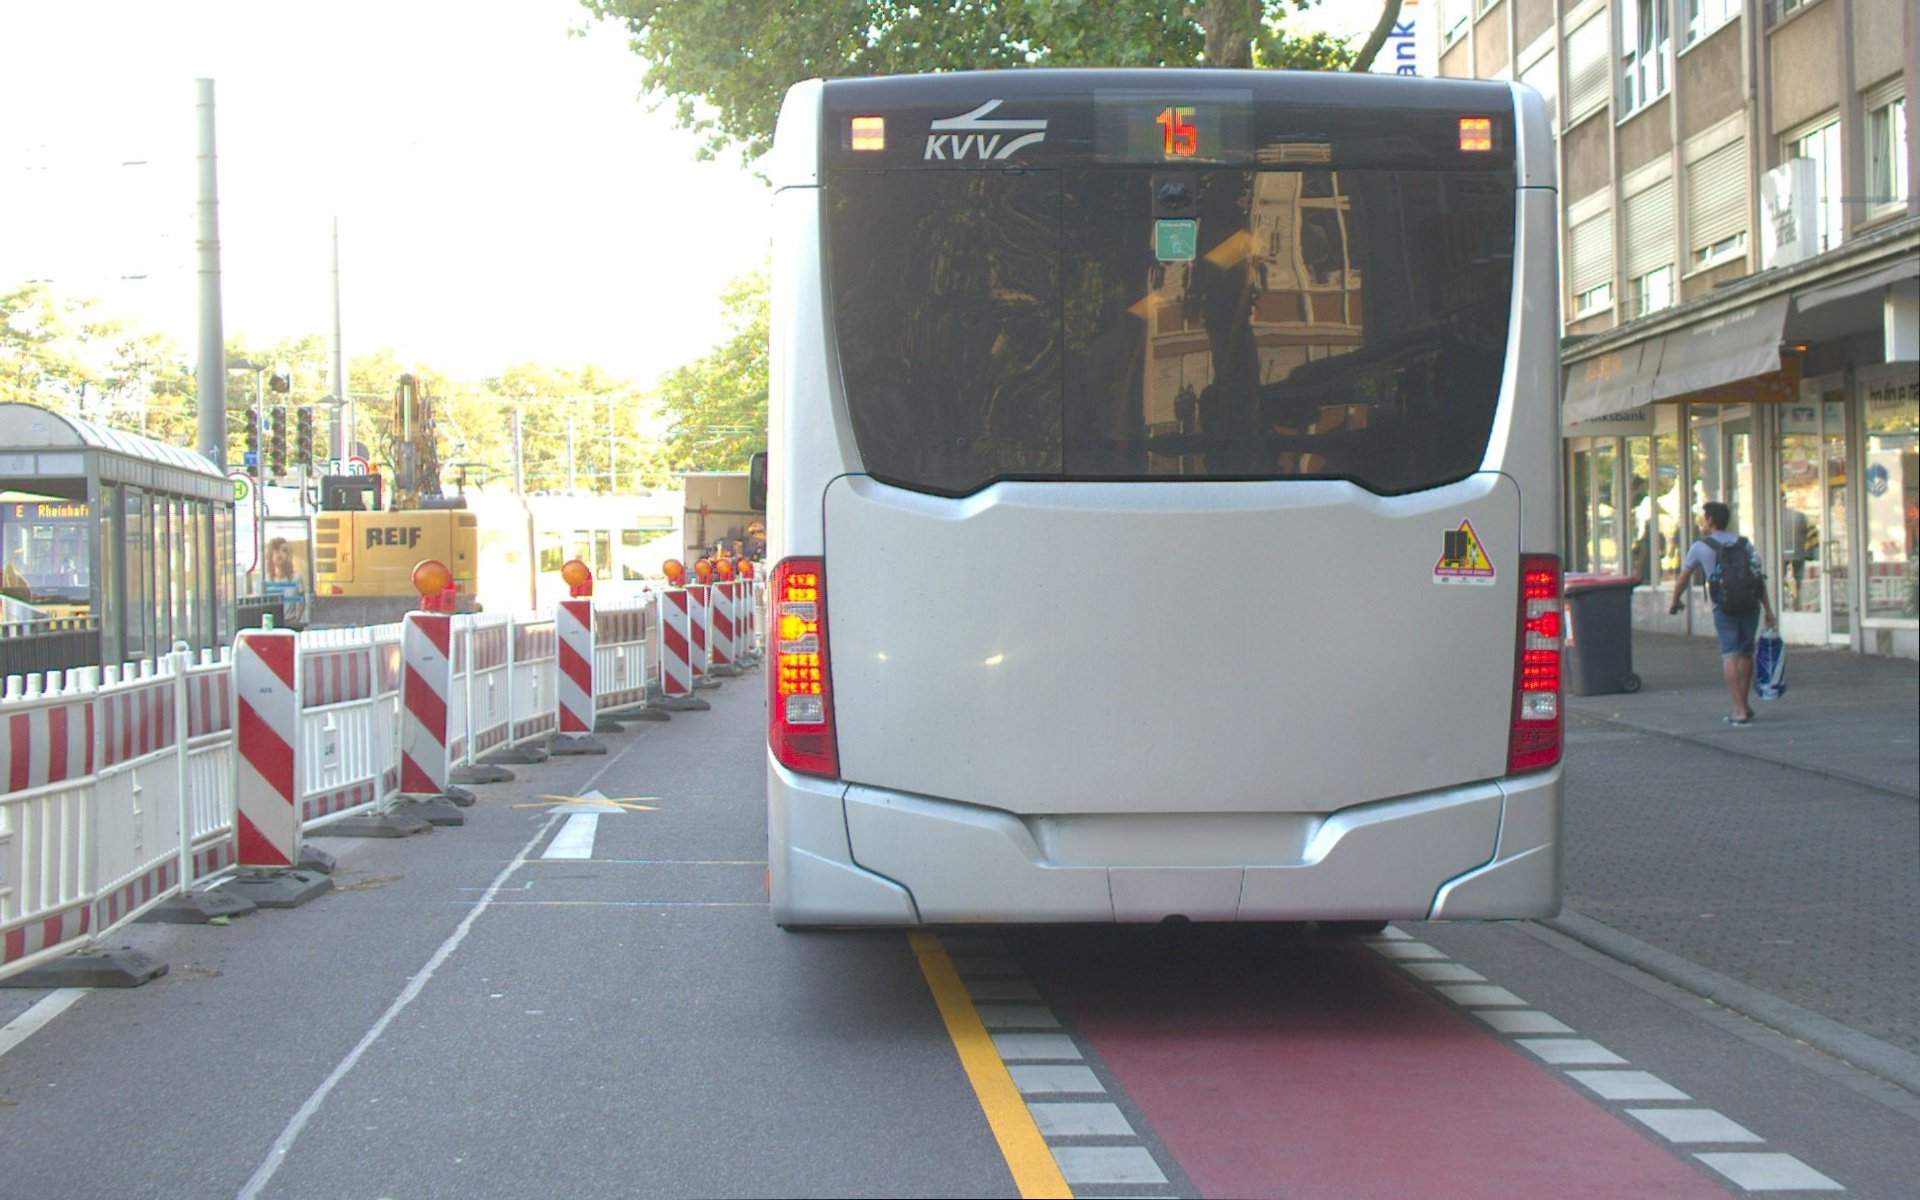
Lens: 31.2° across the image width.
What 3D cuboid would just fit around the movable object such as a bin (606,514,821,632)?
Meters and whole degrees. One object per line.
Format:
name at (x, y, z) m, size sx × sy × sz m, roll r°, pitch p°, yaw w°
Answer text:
movable object such as a bin at (-4.859, -0.572, 68.638) m, size 1.996 × 2.249 × 5.201 m, roll 1°, pitch 1°, yaw 25°

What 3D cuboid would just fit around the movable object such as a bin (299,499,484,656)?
movable object such as a bin at (-8.779, -0.369, 53.528) m, size 2.642 × 2.310 × 4.903 m, roll -1°, pitch 1°, yaw -7°

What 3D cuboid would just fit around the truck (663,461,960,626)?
truck at (-3.229, -1.287, 78.356) m, size 2.816 × 3.529 × 8.971 m, roll -1°, pitch 1°, yaw 26°

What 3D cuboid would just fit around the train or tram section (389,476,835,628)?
train or tram section at (-8.417, -1.227, 86.065) m, size 2.855 × 3.521 × 13.368 m, roll 0°, pitch 1°, yaw 36°

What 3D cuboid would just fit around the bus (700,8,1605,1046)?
bus at (0.373, -0.315, 15.760) m, size 2.733 × 3.128 × 10.704 m, roll 0°, pitch 1°, yaw -2°

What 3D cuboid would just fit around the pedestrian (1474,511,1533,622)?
pedestrian at (7.968, -0.498, 50.407) m, size 0.633 × 1.568 × 0.774 m, roll -4°, pitch 1°, yaw -2°

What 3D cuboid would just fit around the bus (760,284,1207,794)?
bus at (-0.105, -0.434, 25.590) m, size 2.708 × 3.096 × 8.981 m, roll -1°, pitch 1°, yaw -3°

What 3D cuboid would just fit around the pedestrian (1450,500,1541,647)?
pedestrian at (7.121, -0.352, 45.738) m, size 0.838 × 1.863 × 1.100 m, roll -5°, pitch 1°, yaw -2°

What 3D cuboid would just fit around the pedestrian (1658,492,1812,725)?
pedestrian at (5.781, 0.055, 25.688) m, size 0.843 × 1.667 × 0.990 m, roll -2°, pitch 1°, yaw -2°

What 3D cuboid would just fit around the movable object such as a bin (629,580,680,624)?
movable object such as a bin at (-6.464, 0.040, 72.869) m, size 0.932 × 0.914 × 1.420 m, roll -1°, pitch 0°, yaw 1°

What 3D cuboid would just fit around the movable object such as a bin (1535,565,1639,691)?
movable object such as a bin at (5.664, 0.241, 31.087) m, size 0.674 × 1.071 × 1.228 m, roll -2°, pitch 2°, yaw -1°
